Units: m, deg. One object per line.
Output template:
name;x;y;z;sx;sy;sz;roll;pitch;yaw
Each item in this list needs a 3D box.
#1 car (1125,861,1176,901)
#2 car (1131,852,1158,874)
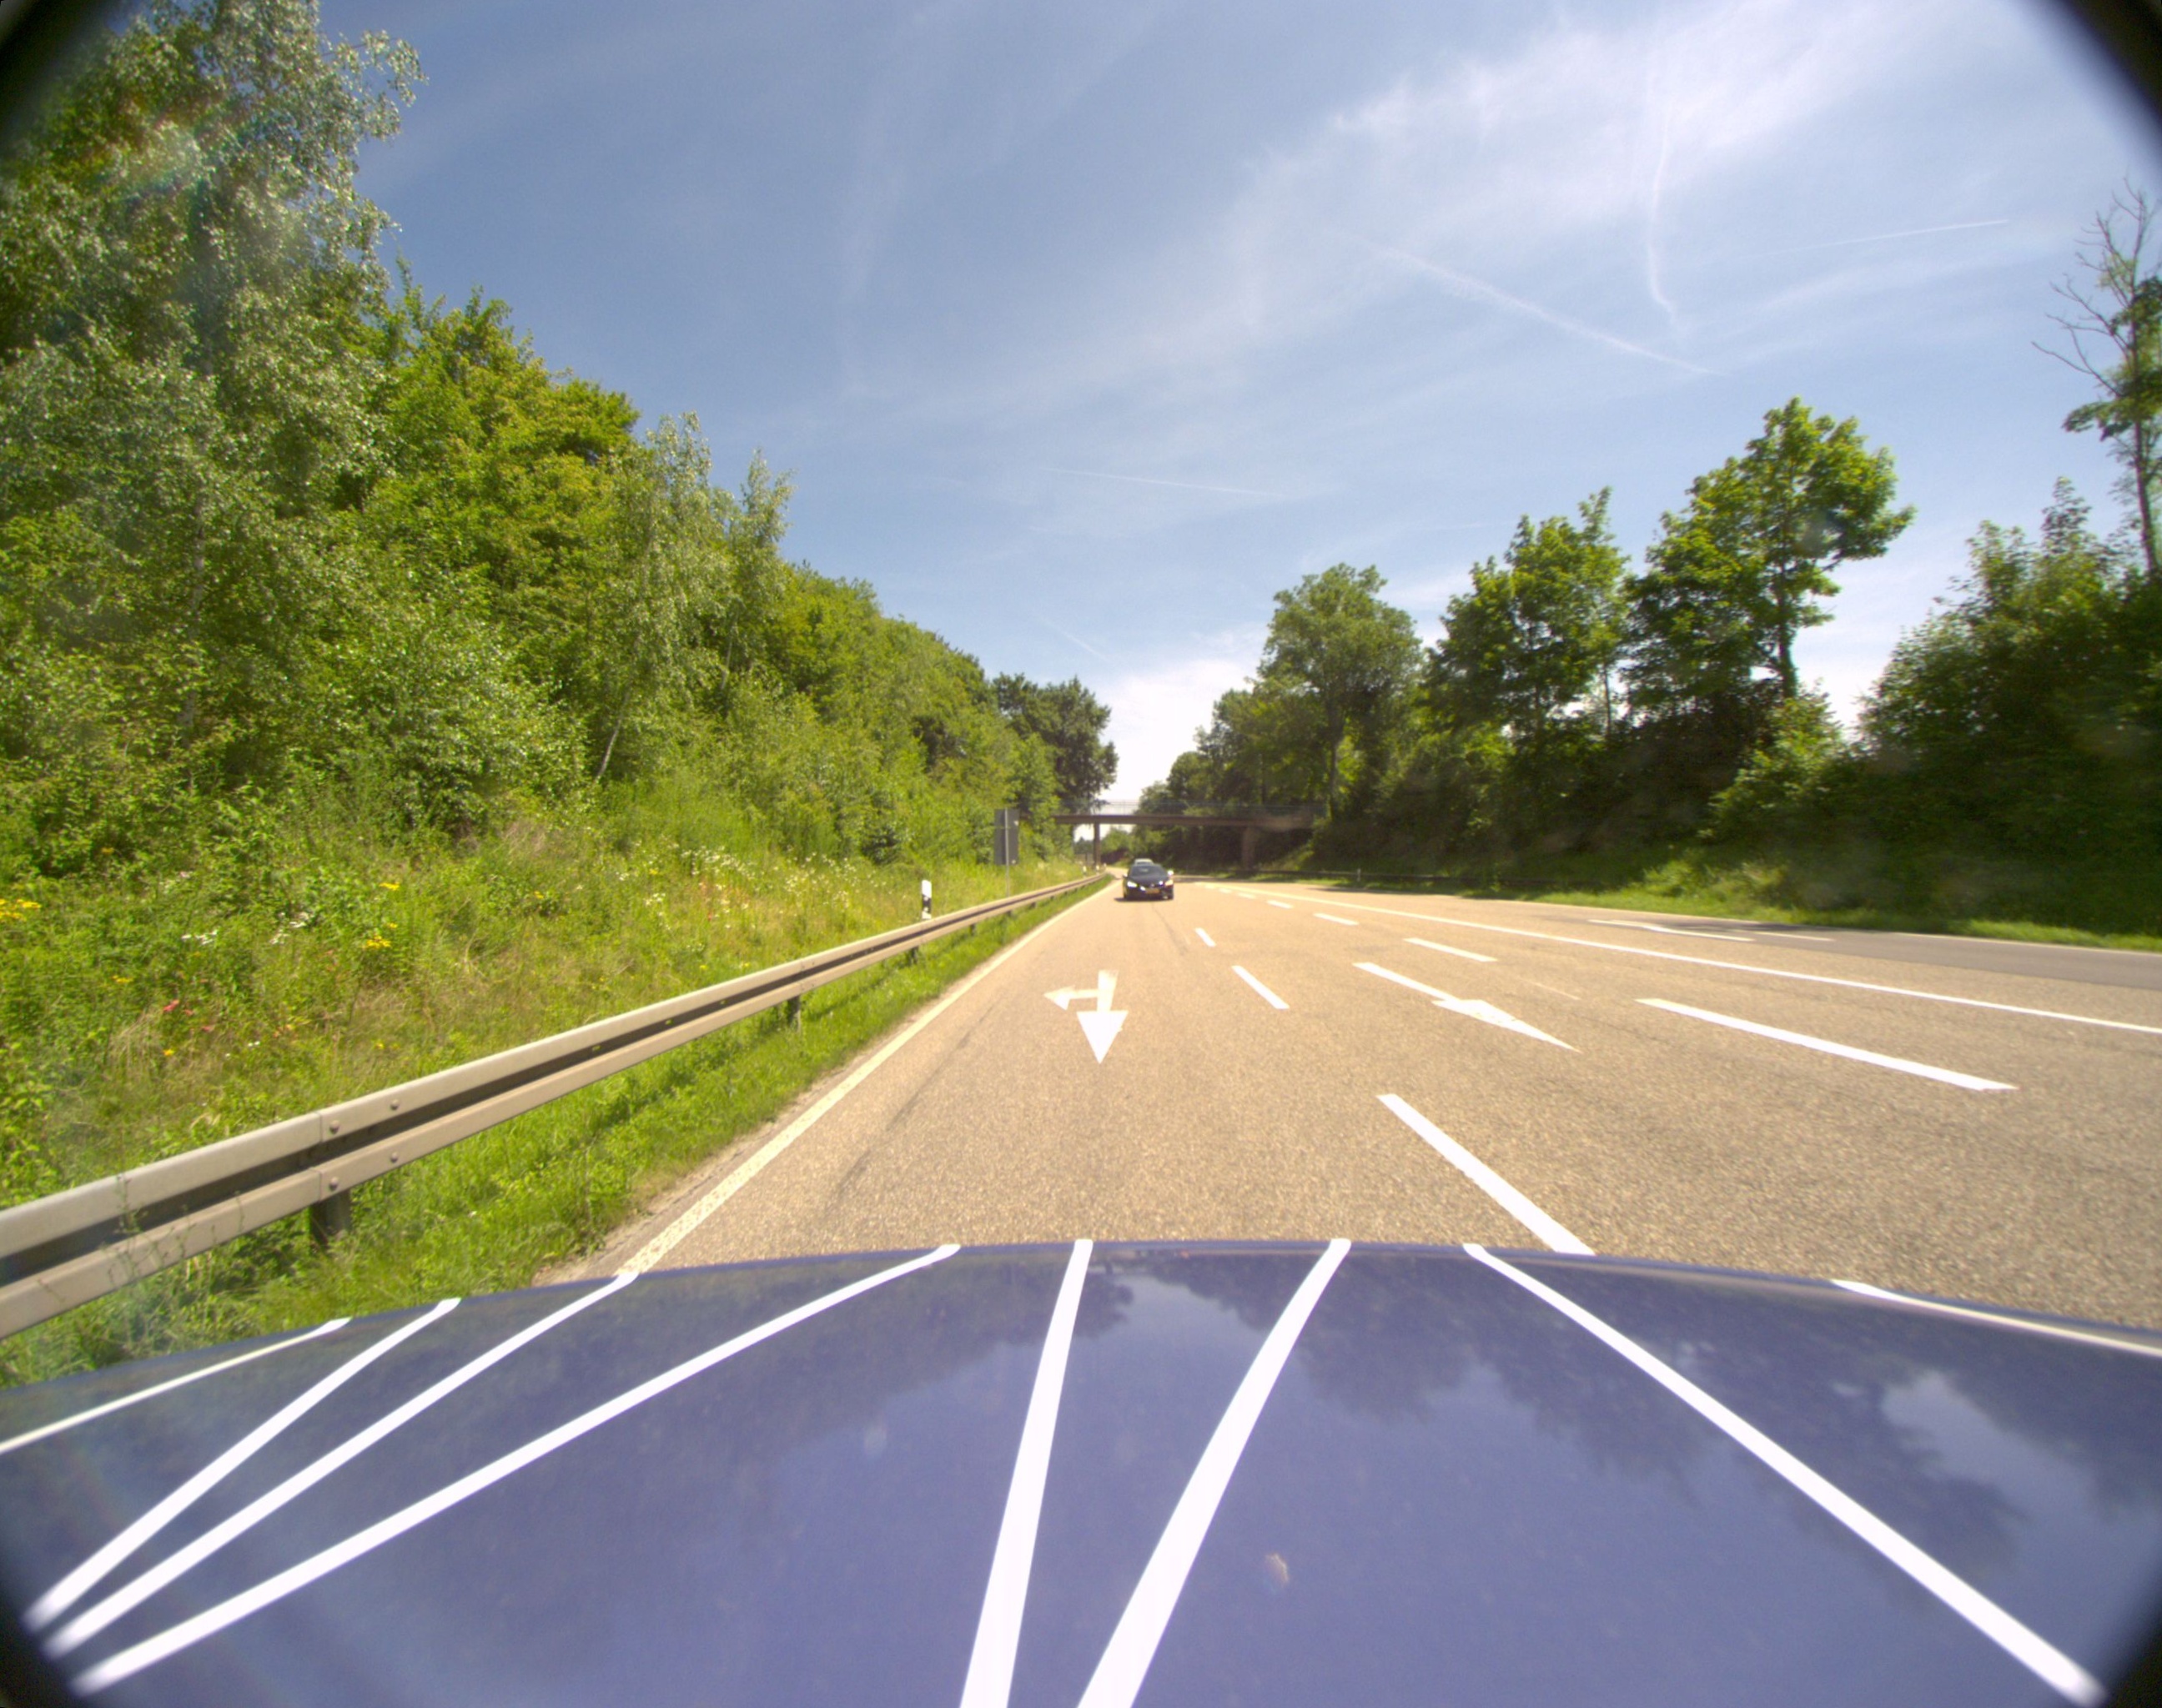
car;2.697;1.016;30.265;1.690;1.390;4.403;-1;1;2
car;5.199;0.731;62.788;1.809;1.660;4.292;-2;0;0
